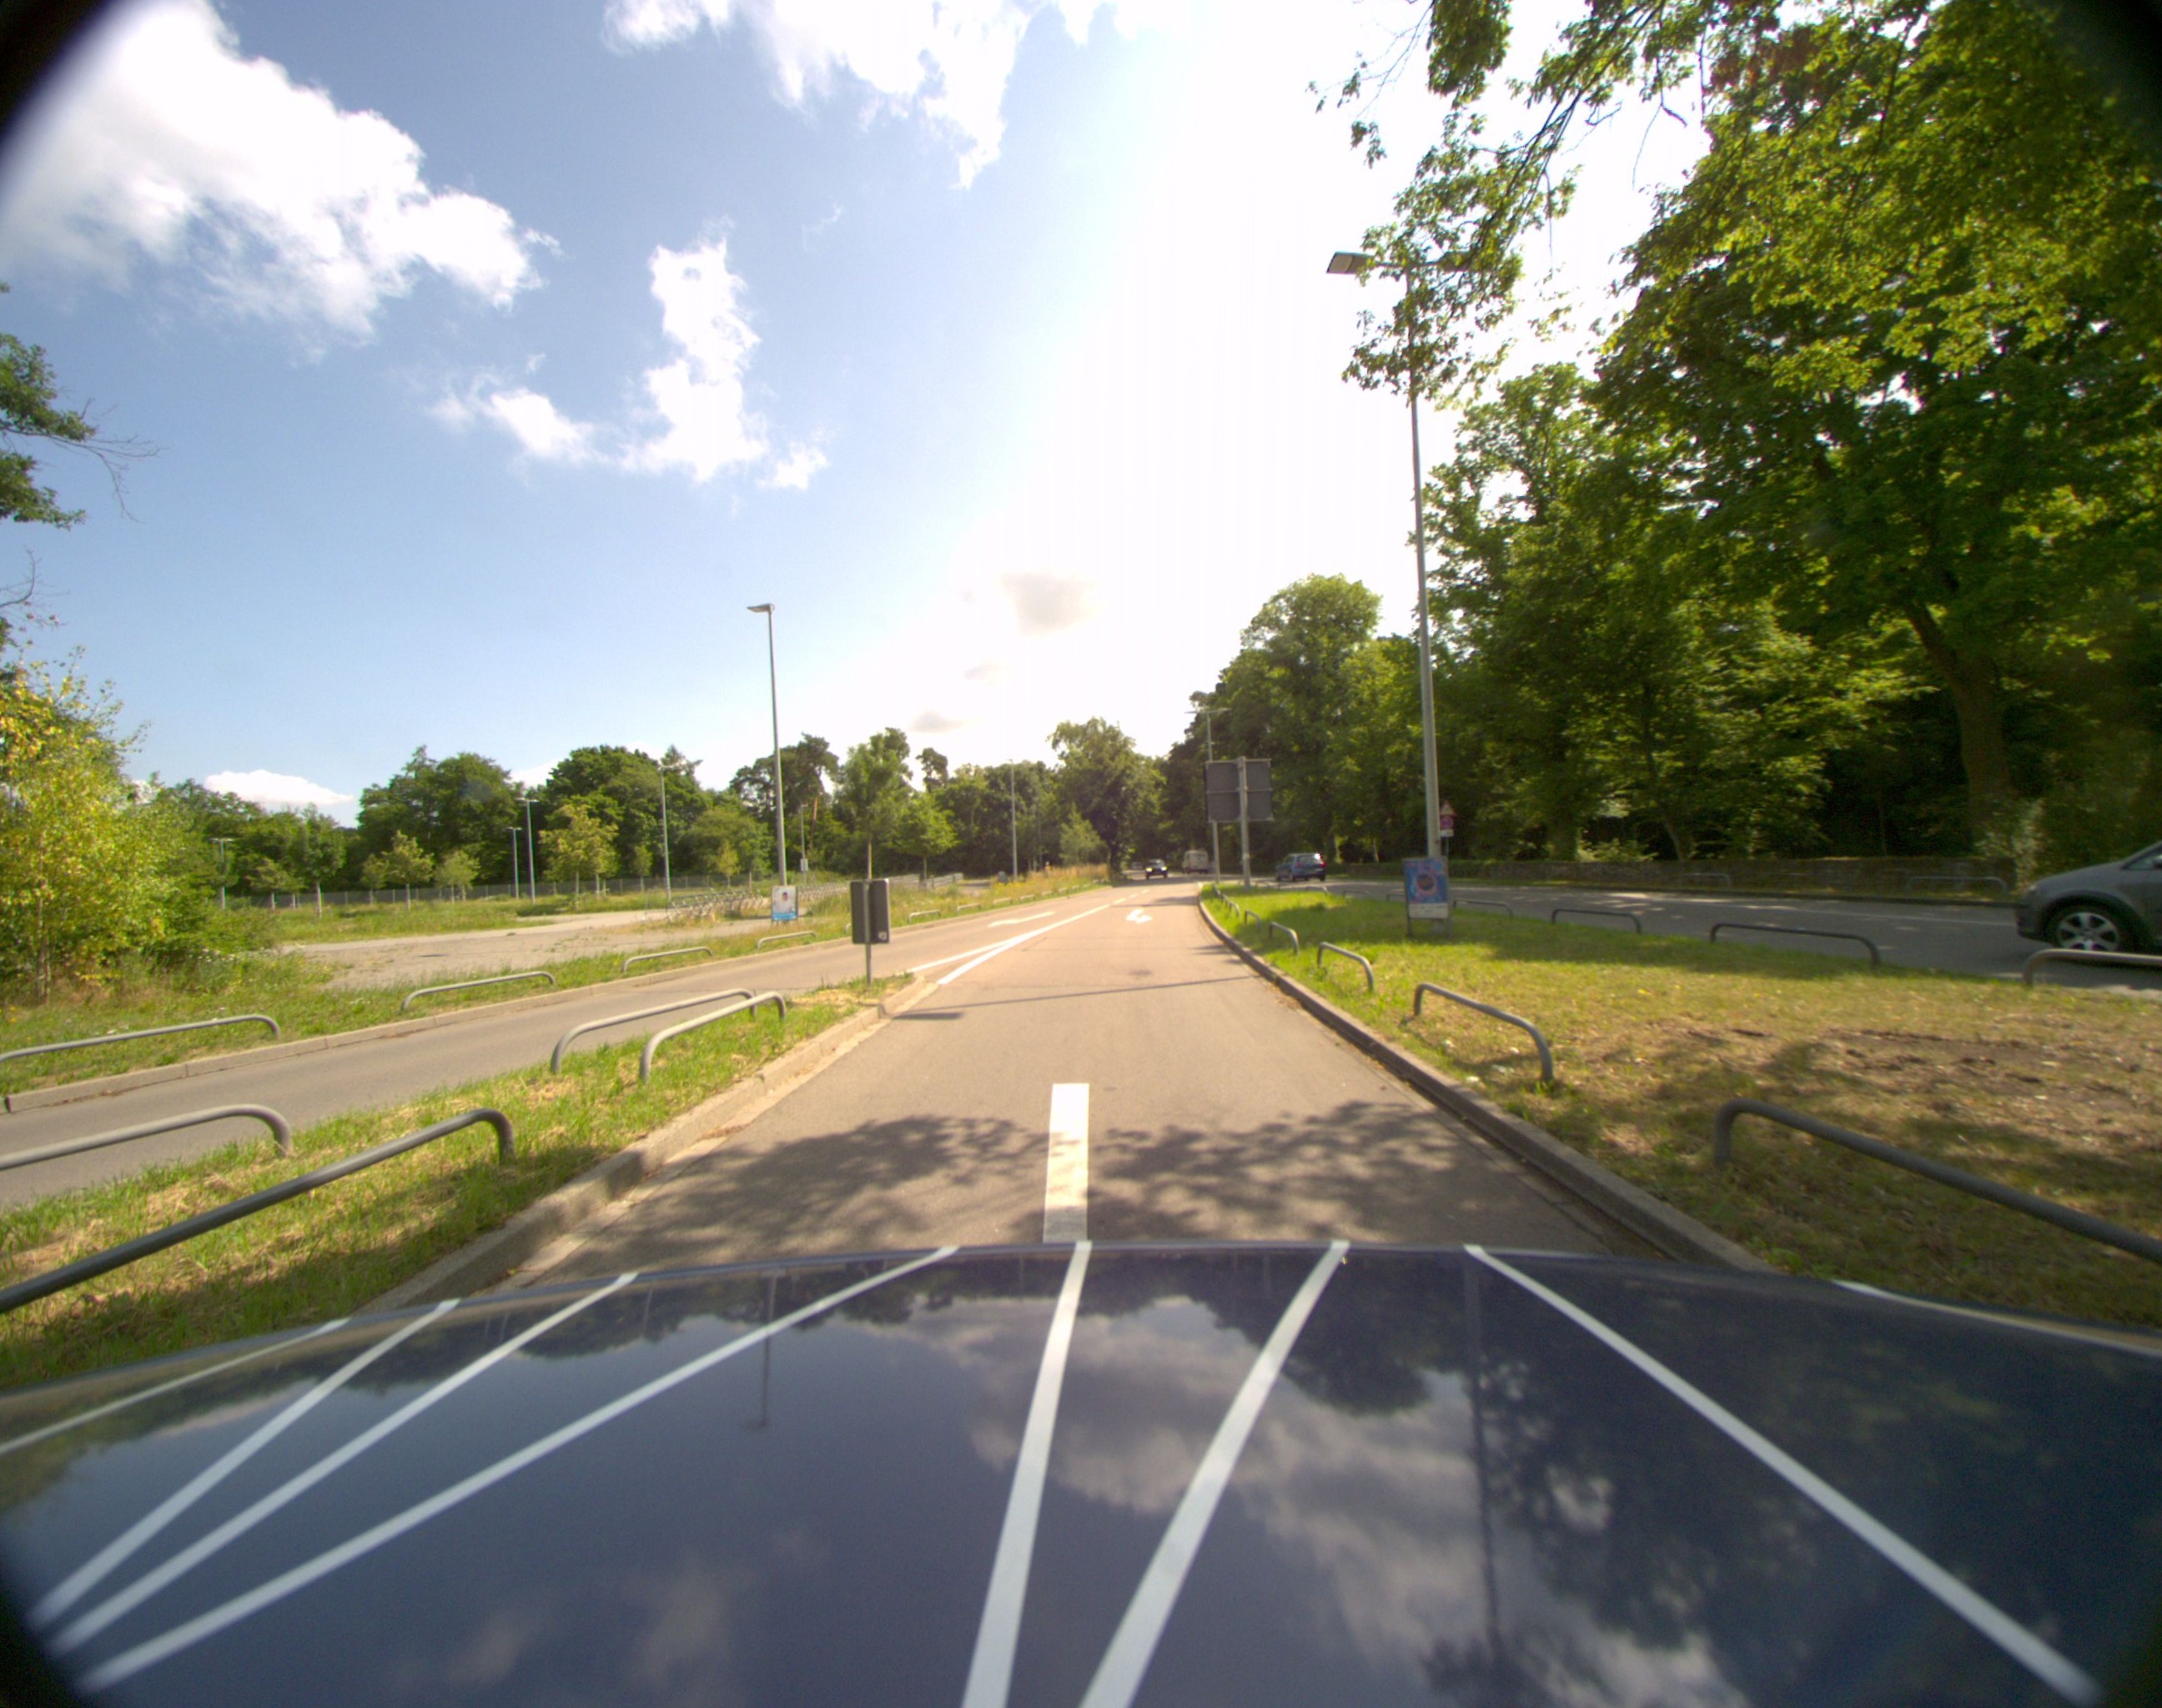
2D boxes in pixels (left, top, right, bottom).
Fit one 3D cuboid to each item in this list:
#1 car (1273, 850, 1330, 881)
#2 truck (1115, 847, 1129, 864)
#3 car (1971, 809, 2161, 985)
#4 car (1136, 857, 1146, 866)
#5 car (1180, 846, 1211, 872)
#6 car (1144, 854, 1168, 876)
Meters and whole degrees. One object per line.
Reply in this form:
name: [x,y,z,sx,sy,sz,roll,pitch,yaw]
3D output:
car: [11.512,0.564,39.928,1.699,1.438,4.066,-4,1,-1]
truck: [9.270,0.318,172.458,2.914,3.609,7.004,-2,1,1]
car: [11.074,0.361,6.500,1.765,1.620,4.299,-5,-1,0]
car: [11.134,1.337,140.627,1.655,1.461,3.871,-2,1,3]
car: [11.667,0.505,77.704,1.980,2.417,5.361,-4,1,-2]
car: [6.885,0.964,69.860,1.979,1.754,4.708,-3,1,4]
